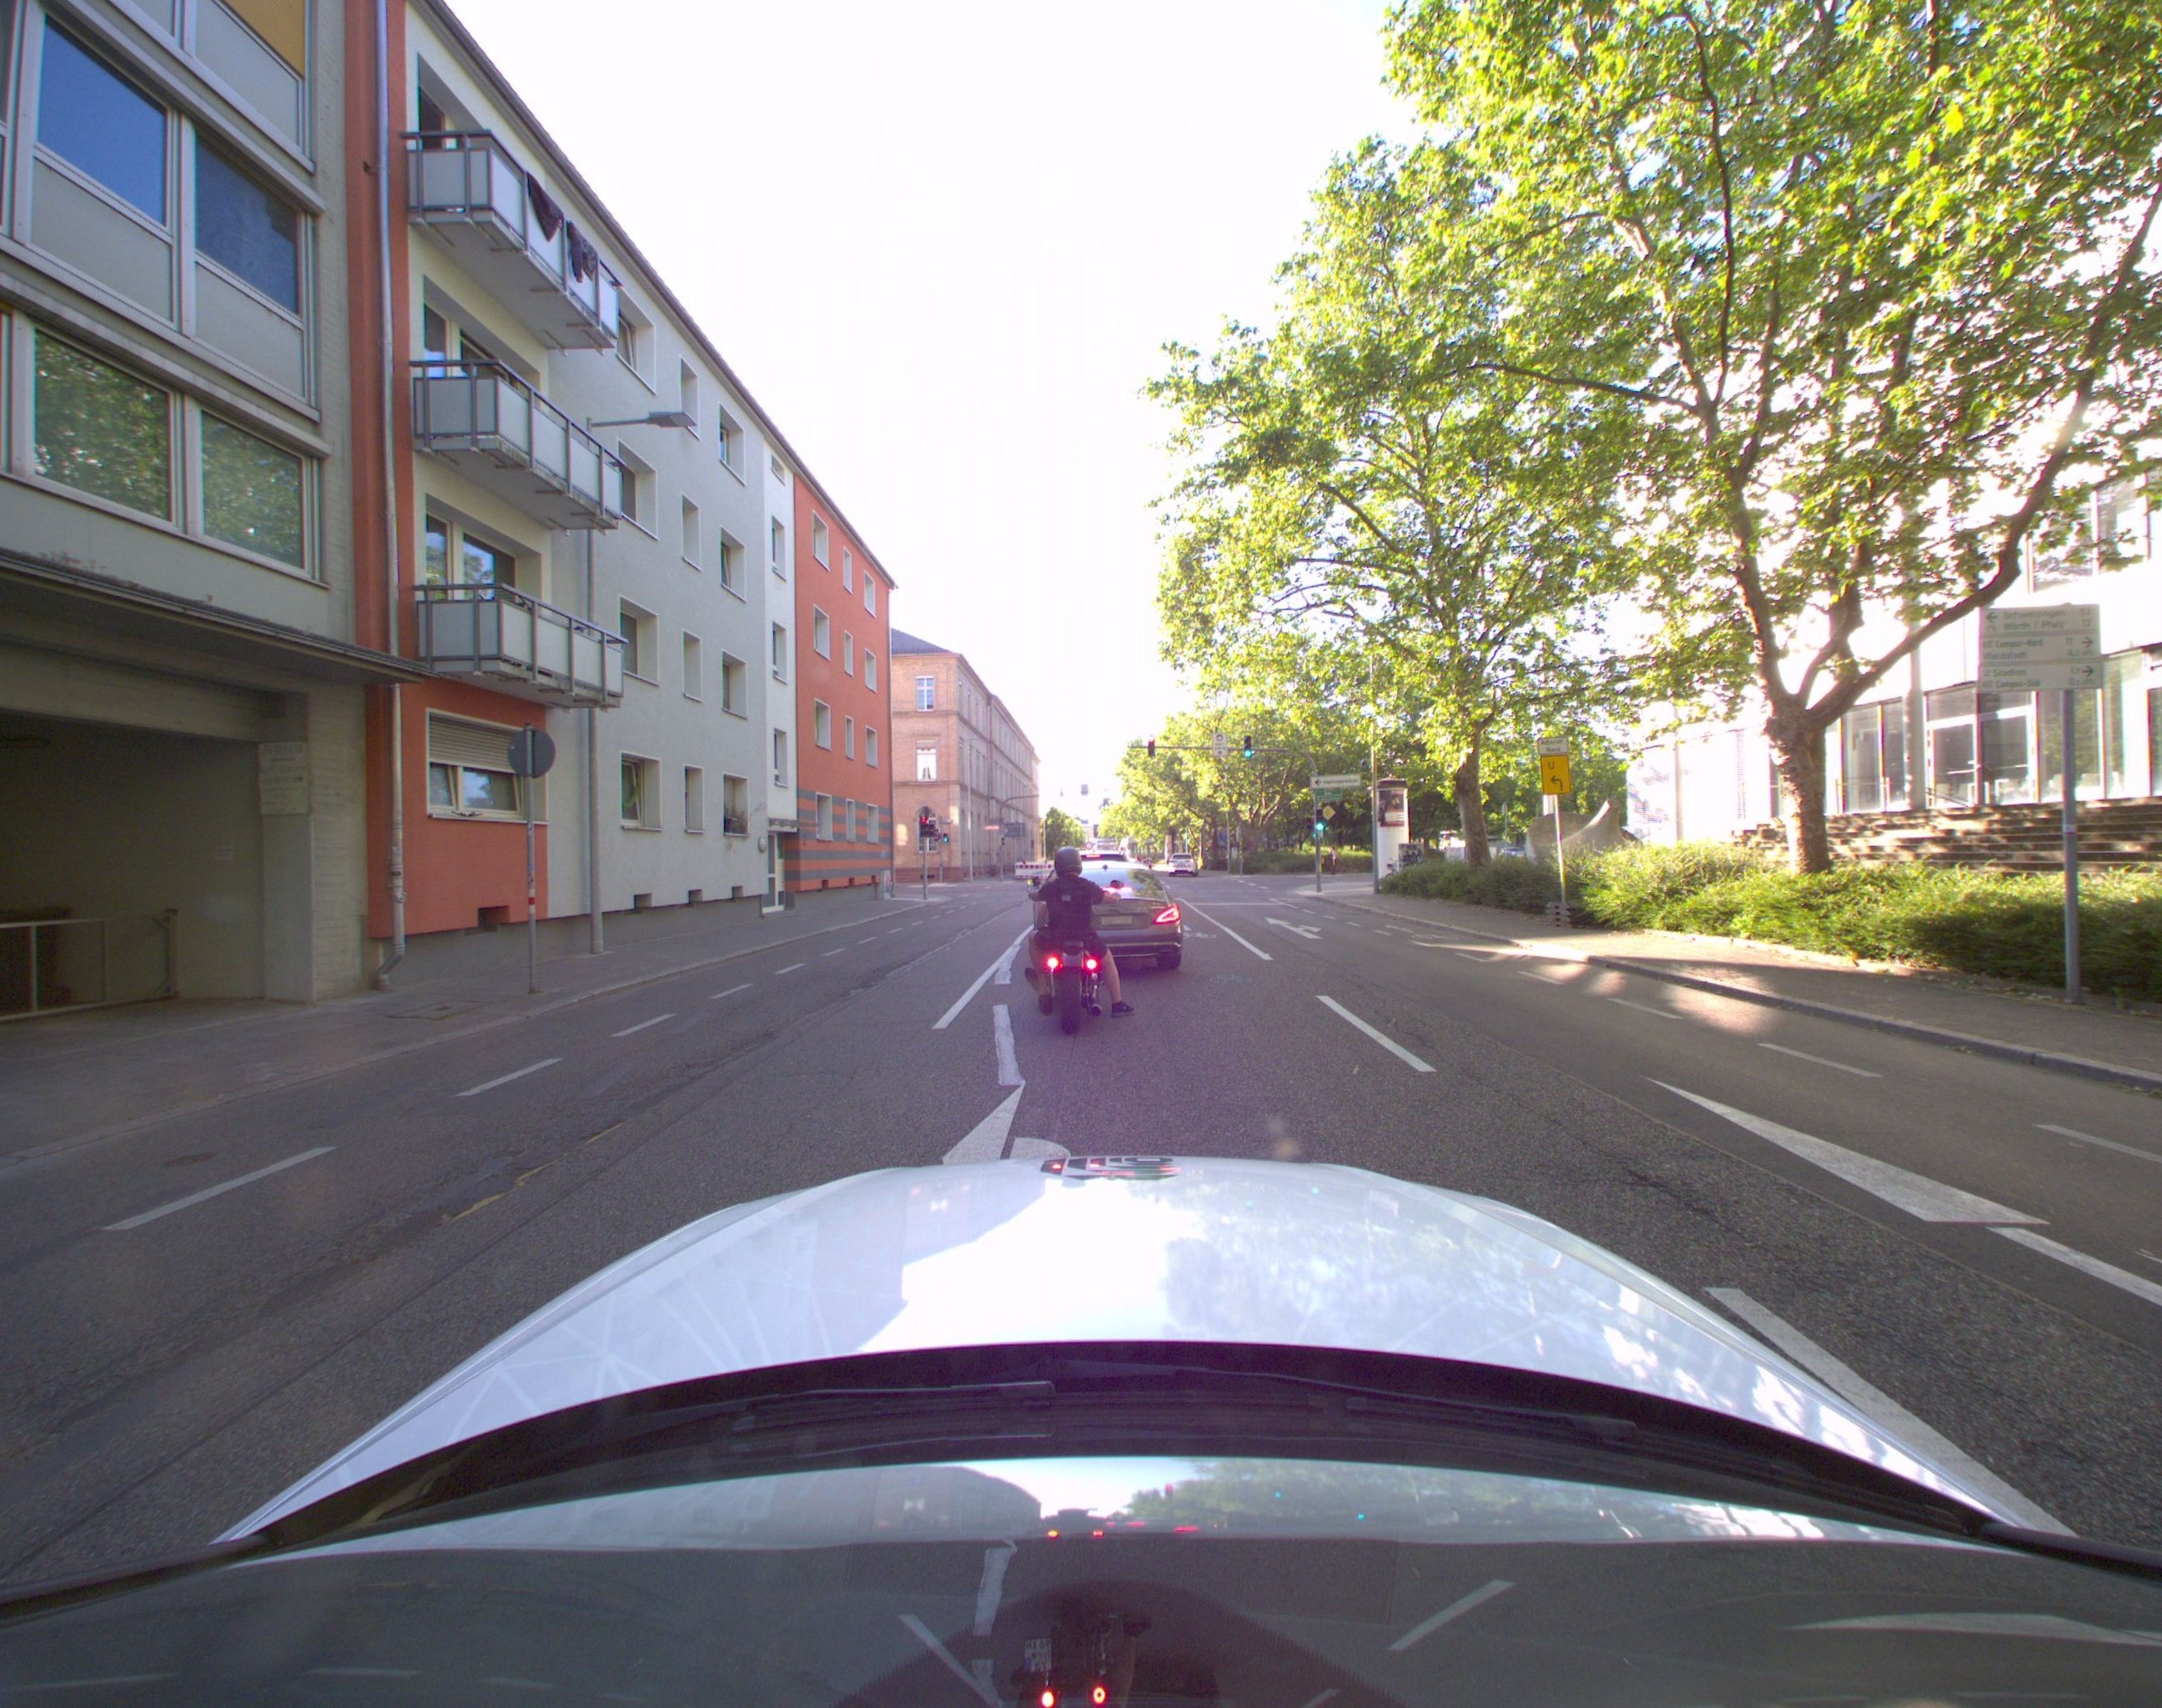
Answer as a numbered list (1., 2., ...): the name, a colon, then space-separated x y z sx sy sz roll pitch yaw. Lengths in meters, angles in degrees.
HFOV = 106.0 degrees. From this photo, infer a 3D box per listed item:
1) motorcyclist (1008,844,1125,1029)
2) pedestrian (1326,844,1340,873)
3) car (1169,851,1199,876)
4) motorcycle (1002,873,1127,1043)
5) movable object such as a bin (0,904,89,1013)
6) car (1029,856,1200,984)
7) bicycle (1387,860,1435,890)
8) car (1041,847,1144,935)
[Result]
1. motorcyclist: -0.103 0.712 7.640 0.977 1.578 1.249 -1 0 1
2. pedestrian: 15.575 0.305 50.397 0.671 1.772 0.621 -1 -1 31
3. car: 7.433 0.633 58.340 1.931 1.708 4.496 0 0 10
4. motorcycle: -0.094 0.859 7.705 0.977 1.275 2.408 -1 0 2
5. movable object such as a bin: -11.291 1.096 8.661 0.639 1.065 0.675 -1 0 1
6. car: 0.262 0.775 11.760 1.867 1.444 4.421 -1 0 -6
7. bicycle: 11.076 0.711 27.339 1.475 0.980 0.300 0 -1 7
8. car: 0.287 0.727 17.687 1.986 1.665 4.001 0 -1 2
